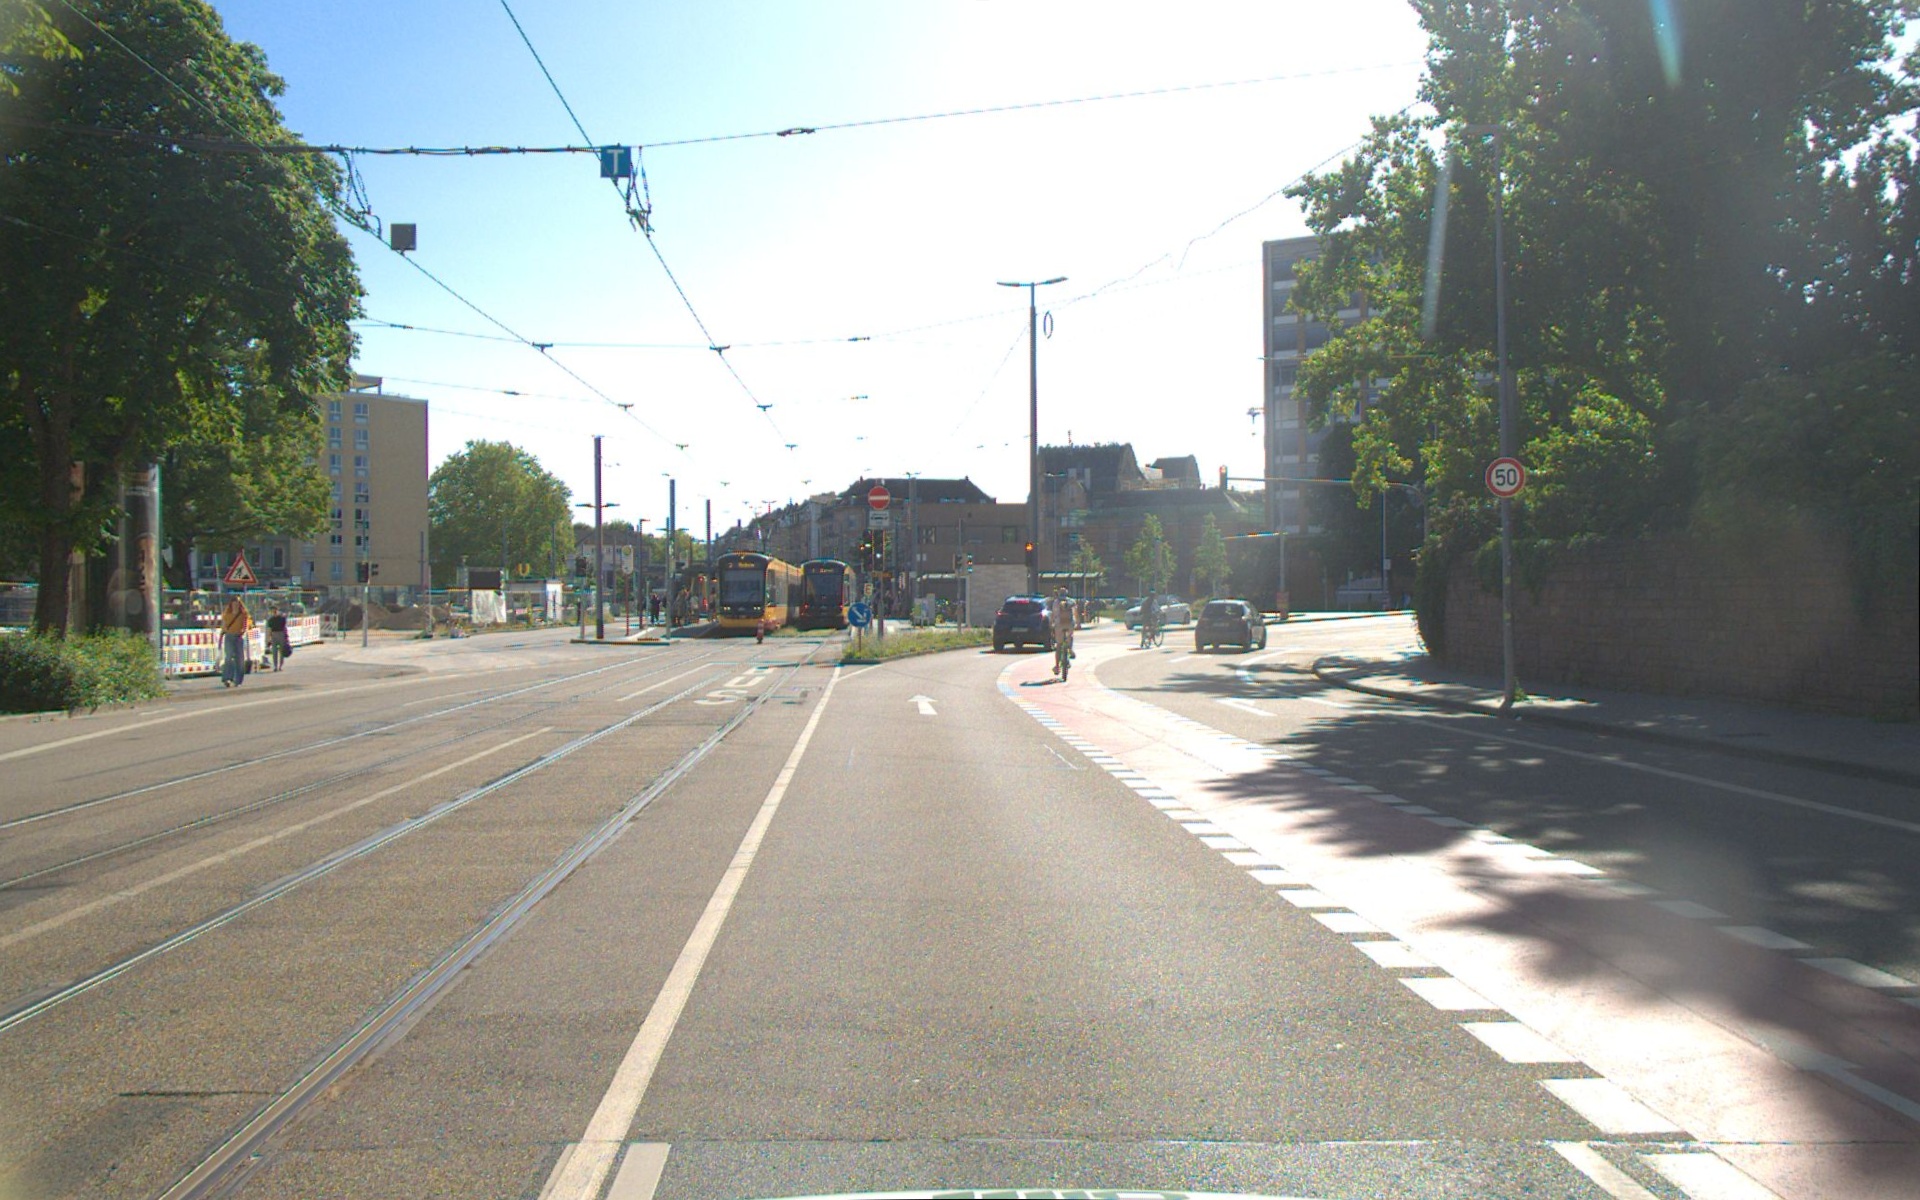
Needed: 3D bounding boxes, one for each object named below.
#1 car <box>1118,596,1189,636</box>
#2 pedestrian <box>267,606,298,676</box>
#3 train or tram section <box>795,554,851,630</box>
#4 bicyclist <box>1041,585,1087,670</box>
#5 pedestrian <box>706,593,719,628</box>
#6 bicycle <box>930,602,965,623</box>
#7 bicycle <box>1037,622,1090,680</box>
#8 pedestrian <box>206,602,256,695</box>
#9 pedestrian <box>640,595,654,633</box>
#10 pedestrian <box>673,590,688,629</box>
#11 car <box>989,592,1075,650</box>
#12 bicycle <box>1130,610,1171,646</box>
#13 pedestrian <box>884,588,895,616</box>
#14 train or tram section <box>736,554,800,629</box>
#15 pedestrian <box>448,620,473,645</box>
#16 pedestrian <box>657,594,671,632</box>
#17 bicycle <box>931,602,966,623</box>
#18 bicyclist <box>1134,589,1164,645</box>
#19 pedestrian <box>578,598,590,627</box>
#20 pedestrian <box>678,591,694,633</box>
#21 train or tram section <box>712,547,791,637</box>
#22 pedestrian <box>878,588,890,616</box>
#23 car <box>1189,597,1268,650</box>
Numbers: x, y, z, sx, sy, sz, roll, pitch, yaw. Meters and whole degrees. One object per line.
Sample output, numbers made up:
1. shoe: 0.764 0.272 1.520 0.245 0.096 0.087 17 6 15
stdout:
1. car: 8.444 0.685 71.930 1.671 1.672 3.703 1 0 32
2. pedestrian: -16.903 1.011 41.282 0.608 1.726 0.676 -1 0 -16
3. train or tram section: -7.207 -0.437 88.505 2.688 3.715 13.775 -1 0 -4
4. bicyclist: 2.123 0.548 33.732 0.690 1.704 1.102 1 0 16
5. pedestrian: -12.972 0.555 86.765 0.614 1.859 0.662 -1 0 -4
6. bicycle: -0.686 0.702 91.994 1.896 1.122 0.598 -1 0 -6
7. bicycle: 2.117 1.025 33.734 0.690 1.124 1.718 1 0 16
8. pedestrian: -13.945 0.923 31.649 0.624 1.726 0.818 -2 0 -8
9. pedestrian: -15.699 0.695 82.949 0.614 1.859 0.662 -1 0 -4
10. pedestrian: -13.458 0.447 79.669 0.614 1.859 0.662 -1 0 -4
11. car: 2.191 0.601 49.473 1.751 1.632 3.715 1 0 15
12. bicycle: 6.064 0.866 52.534 0.690 1.073 2.313 2 1 21
13. pedestrian: -5.052 0.140 118.248 0.649 1.987 0.626 -1 0 -15
14. train or tram section: -10.173 -0.453 88.716 2.688 3.715 12.534 -1 0 -4
15. pedestrian: -21.933 1.437 72.603 0.879 1.065 0.655 -1 0 -3
16. pedestrian: -14.785 0.642 82.546 0.614 1.859 0.662 -1 0 -4
17. bicycle: -0.625 0.698 91.227 1.896 1.122 0.598 -1 0 -6
18. bicyclist: 5.980 0.533 52.295 0.690 1.730 0.987 2 1 21
19. pedestrian: -23.120 0.768 101.608 0.614 1.727 0.662 -1 0 -4
20. pedestrian: -12.391 0.546 74.736 0.614 1.859 0.662 -1 0 -4
21. train or tram section: -9.346 -0.383 75.568 2.688 3.715 13.775 -1 0 -4
22. pedestrian: -5.335 0.129 116.132 0.649 1.987 0.626 -1 0 -15
23. car: 8.322 0.687 51.035 1.752 1.537 3.713 1 0 20
